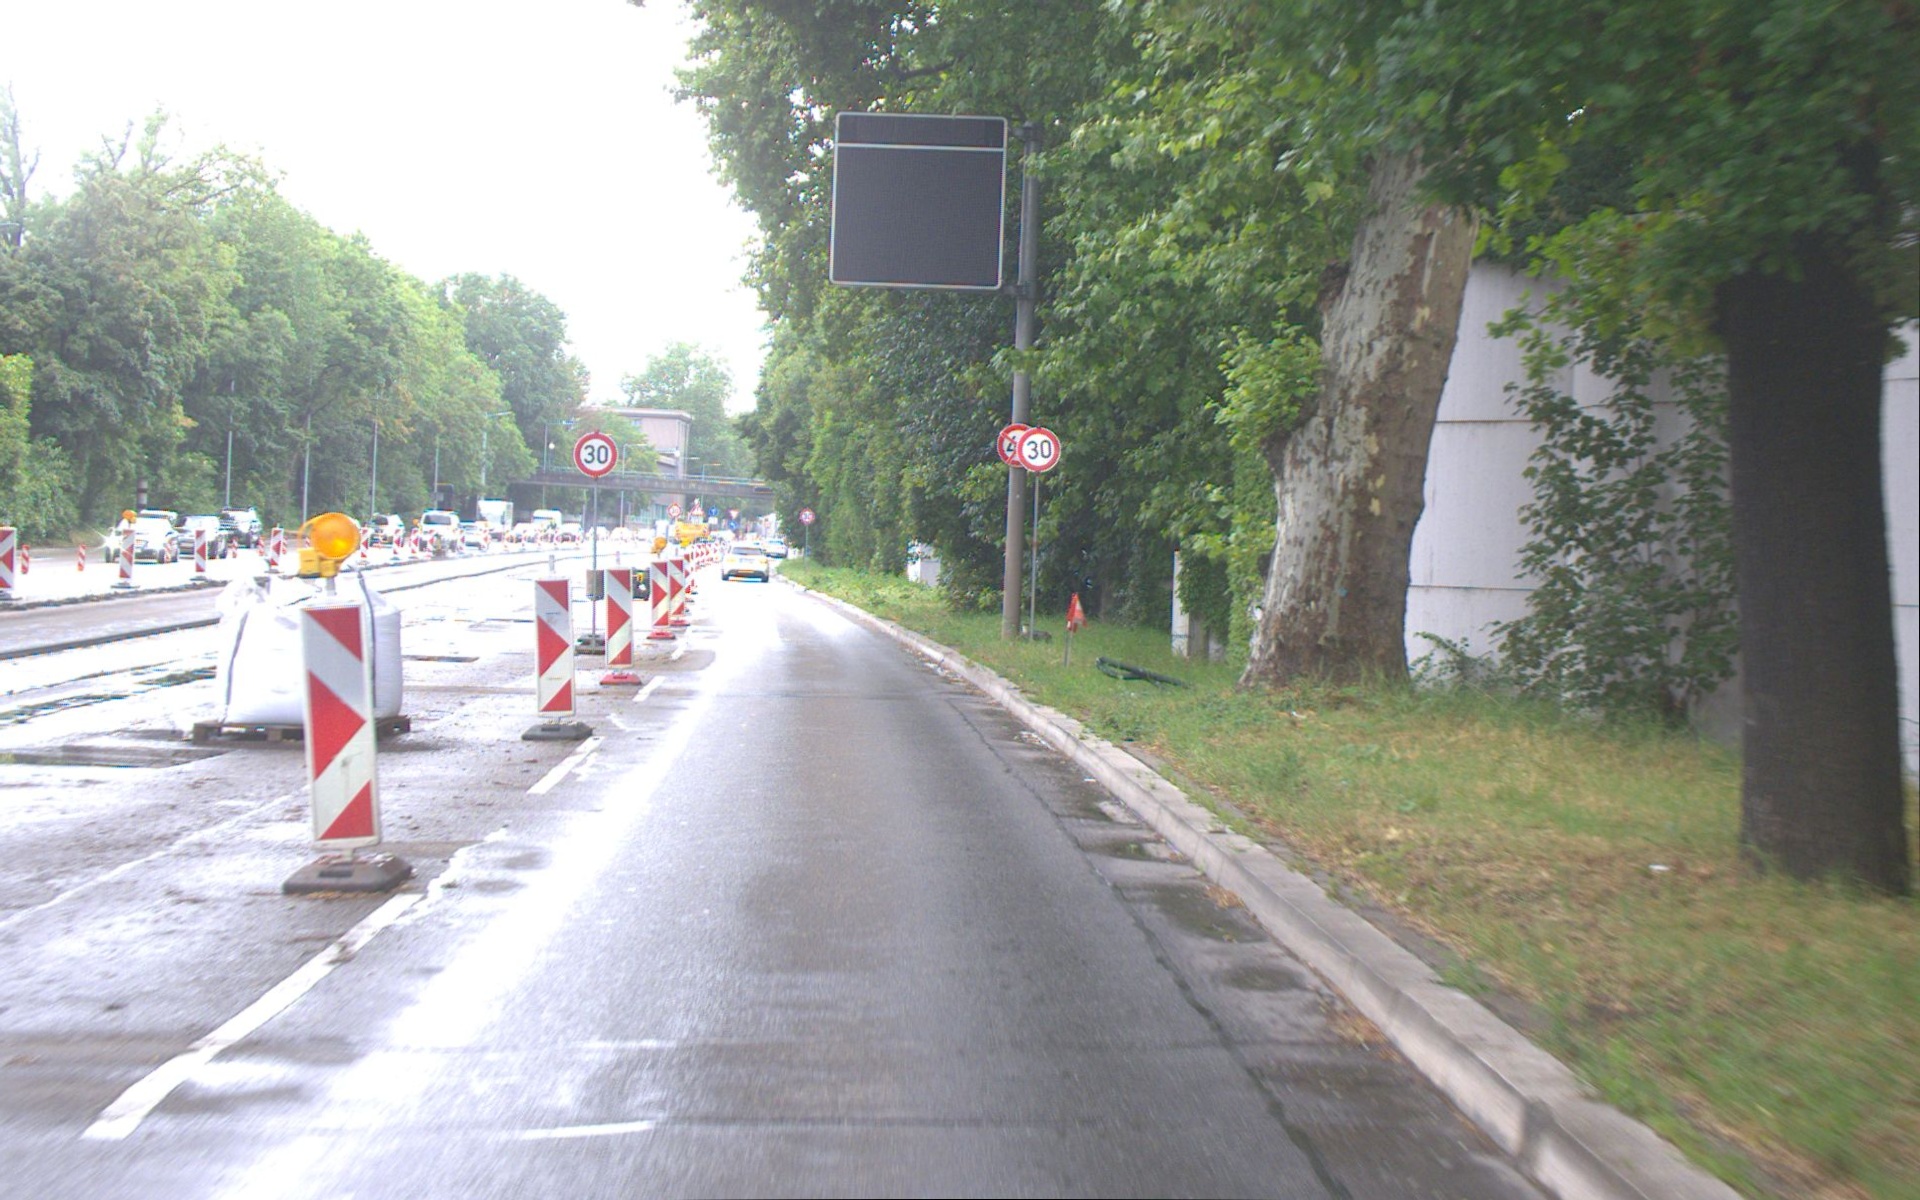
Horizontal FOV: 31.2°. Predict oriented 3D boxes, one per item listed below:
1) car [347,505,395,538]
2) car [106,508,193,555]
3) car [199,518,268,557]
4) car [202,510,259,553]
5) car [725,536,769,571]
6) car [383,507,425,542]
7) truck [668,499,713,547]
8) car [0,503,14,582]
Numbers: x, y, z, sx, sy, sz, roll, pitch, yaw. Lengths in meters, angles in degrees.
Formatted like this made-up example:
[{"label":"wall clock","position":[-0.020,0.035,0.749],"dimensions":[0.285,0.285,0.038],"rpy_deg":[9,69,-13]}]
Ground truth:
[{"label":"car","position":[-27.985,-3.711,163.408],"dimensions":[1.760,1.478,4.901],"rpy_deg":[2,1,-5]},{"label":"car","position":[-24.090,-2.039,102.303],"dimensions":[1.817,1.351,4.391],"rpy_deg":[0,1,-4]},{"label":"car","position":[-25.500,-2.207,120.793],"dimensions":[1.817,1.351,4.205],"rpy_deg":[0,1,-4]},{"label":"car","position":[-30.391,-2.863,143.256],"dimensions":[1.653,1.679,4.534],"rpy_deg":[3,1,-4]},{"label":"car","position":[-8.321,-1.822,134.198],"dimensions":[1.697,1.331,3.491],"rpy_deg":[0,1,-4]},{"label":"car","position":[-28.795,-3.925,177.999],"dimensions":[1.734,1.716,4.495],"rpy_deg":[2,1,-5]},{"label":"truck","position":[-20.755,-5.965,265.478],"dimensions":[3.259,3.485,13.873],"rpy_deg":[2,1,-4]},{"label":"car","position":[-17.861,-1.030,60.346],"dimensions":[1.607,1.399,4.042],"rpy_deg":[2,1,-4]}]
